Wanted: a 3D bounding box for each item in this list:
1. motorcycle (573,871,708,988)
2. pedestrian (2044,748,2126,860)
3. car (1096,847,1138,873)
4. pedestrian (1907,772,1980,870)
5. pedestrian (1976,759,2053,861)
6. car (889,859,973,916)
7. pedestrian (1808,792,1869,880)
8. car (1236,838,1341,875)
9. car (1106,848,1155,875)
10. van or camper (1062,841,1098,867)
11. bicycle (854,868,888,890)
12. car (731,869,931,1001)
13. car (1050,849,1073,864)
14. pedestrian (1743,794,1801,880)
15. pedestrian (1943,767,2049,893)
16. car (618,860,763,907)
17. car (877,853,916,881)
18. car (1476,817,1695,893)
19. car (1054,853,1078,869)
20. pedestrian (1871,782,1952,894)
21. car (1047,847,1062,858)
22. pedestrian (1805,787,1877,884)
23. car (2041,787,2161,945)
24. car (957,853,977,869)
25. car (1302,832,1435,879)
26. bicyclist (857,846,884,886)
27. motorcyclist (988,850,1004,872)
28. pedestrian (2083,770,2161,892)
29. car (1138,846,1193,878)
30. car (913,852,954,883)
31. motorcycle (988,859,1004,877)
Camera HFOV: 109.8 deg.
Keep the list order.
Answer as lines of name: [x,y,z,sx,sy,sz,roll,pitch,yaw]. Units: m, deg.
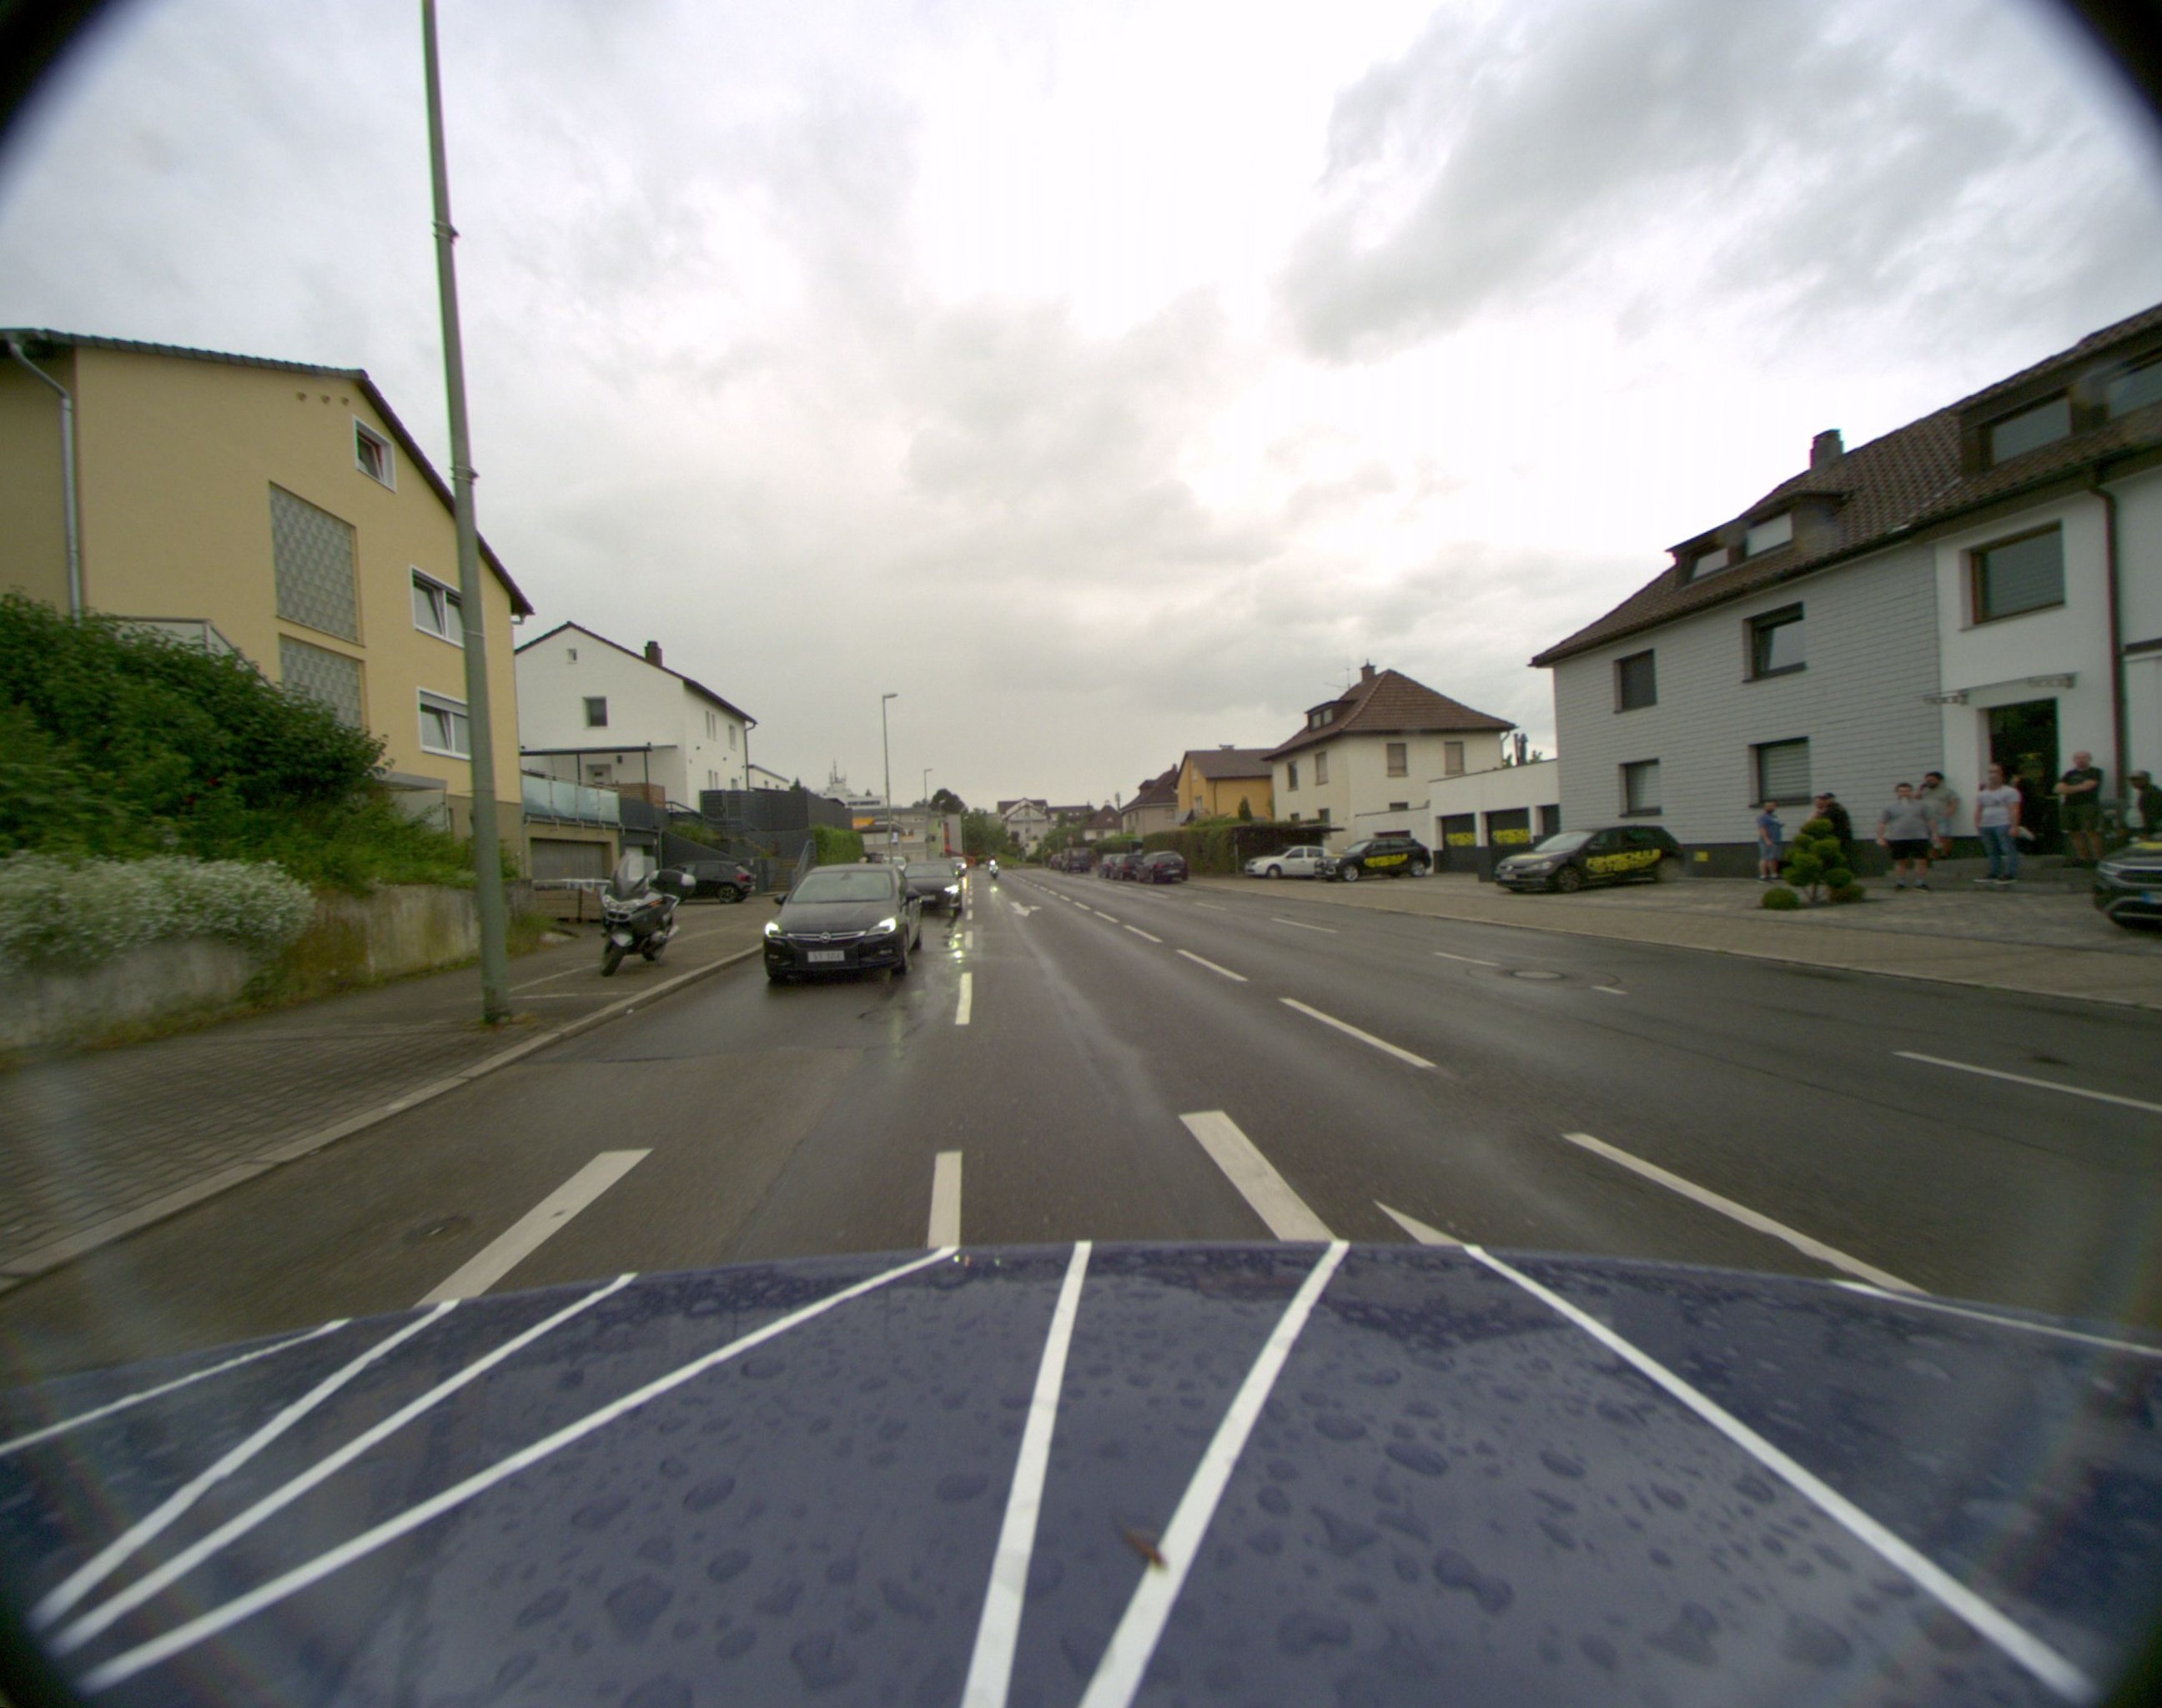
motorcycle: [-5.946,0.945,10.462,0.694,1.317,2.477,-1,1,-8]
pedestrian: [15.601,-0.765,11.816,0.517,1.661,0.512,-5,2,-1]
car: [2.194,0.330,47.899,1.811,1.505,3.996,-1,1,-10]
pedestrian: [15.394,-0.575,13.572,0.584,1.661,0.575,-6,2,-9]
pedestrian: [15.883,-0.736,12.939,0.575,1.661,0.550,-6,2,-9]
car: [-4.171,0.918,21.781,1.911,1.389,4.855,-2,-1,-6]
pedestrian: [15.244,-0.365,15.301,0.588,1.698,0.561,-6,2,-9]
car: [9.214,0.111,33.834,4.114,1.475,1.838,2,-1,-14]
car: [2.728,0.363,42.651,1.811,1.407,3.996,-1,1,-10]
van or camper: [-0.134,-0.043,62.293,2.191,2.002,5.129,-2,1,-8]
bicycle: [-8.925,1.049,32.374,0.733,0.822,2.234,-1,1,3]
car: [-3.303,0.977,10.875,1.841,1.390,3.998,-1,1,-5]
car: [-2.010,0.203,77.753,1.890,1.477,3.997,-1,1,-8]
pedestrian: [14.532,-0.347,15.991,0.447,1.743,0.689,-6,2,-6]
pedestrian: [14.351,-0.371,11.935,0.734,1.856,0.686,-5,2,-1]
car: [-12.996,0.961,25.523,4.002,1.395,1.671,-1,1,-14]
car: [-10.794,0.715,44.666,1.738,1.481,3.997,-1,1,-6]
car: [11.851,0.008,17.999,3.999,1.412,1.883,-4,1,-7]
car: [-1.445,0.644,73.337,1.889,1.477,3.997,-1,1,-7]
pedestrian: [13.875,-0.265,12.706,0.670,1.778,0.539,-5,2,-3]
car: [-4.183,-0.181,118.346,2.000,1.565,3.997,-2,1,-6]
pedestrian: [14.496,-0.345,14.508,0.652,1.776,0.648,-4,0,17]
car: [13.185,-0.056,8.013,3.999,1.555,1.872,-7,1,-6]
car: [-10.886,0.652,72.438,1.842,1.472,3.997,-1,-1,-9]
car: [10.555,0.045,28.032,4.111,1.412,1.883,-4,1,-7]
bicyclist: [-8.940,0.501,32.338,0.809,1.633,0.906,-1,1,2]
motorcyclist: [-5.677,0.479,50.828,0.953,1.413,0.992,-2,1,-5]
pedestrian: [15.165,-0.338,10.880,0.674,1.661,0.691,-5,2,23]
car: [4.025,0.349,36.831,1.810,1.407,3.997,-1,1,-6]
car: [-7.892,0.775,40.835,1.841,1.448,4.000,-1,-3,-7]
motorcycle: [-5.685,0.900,50.939,0.944,1.101,2.404,-2,1,-5]
